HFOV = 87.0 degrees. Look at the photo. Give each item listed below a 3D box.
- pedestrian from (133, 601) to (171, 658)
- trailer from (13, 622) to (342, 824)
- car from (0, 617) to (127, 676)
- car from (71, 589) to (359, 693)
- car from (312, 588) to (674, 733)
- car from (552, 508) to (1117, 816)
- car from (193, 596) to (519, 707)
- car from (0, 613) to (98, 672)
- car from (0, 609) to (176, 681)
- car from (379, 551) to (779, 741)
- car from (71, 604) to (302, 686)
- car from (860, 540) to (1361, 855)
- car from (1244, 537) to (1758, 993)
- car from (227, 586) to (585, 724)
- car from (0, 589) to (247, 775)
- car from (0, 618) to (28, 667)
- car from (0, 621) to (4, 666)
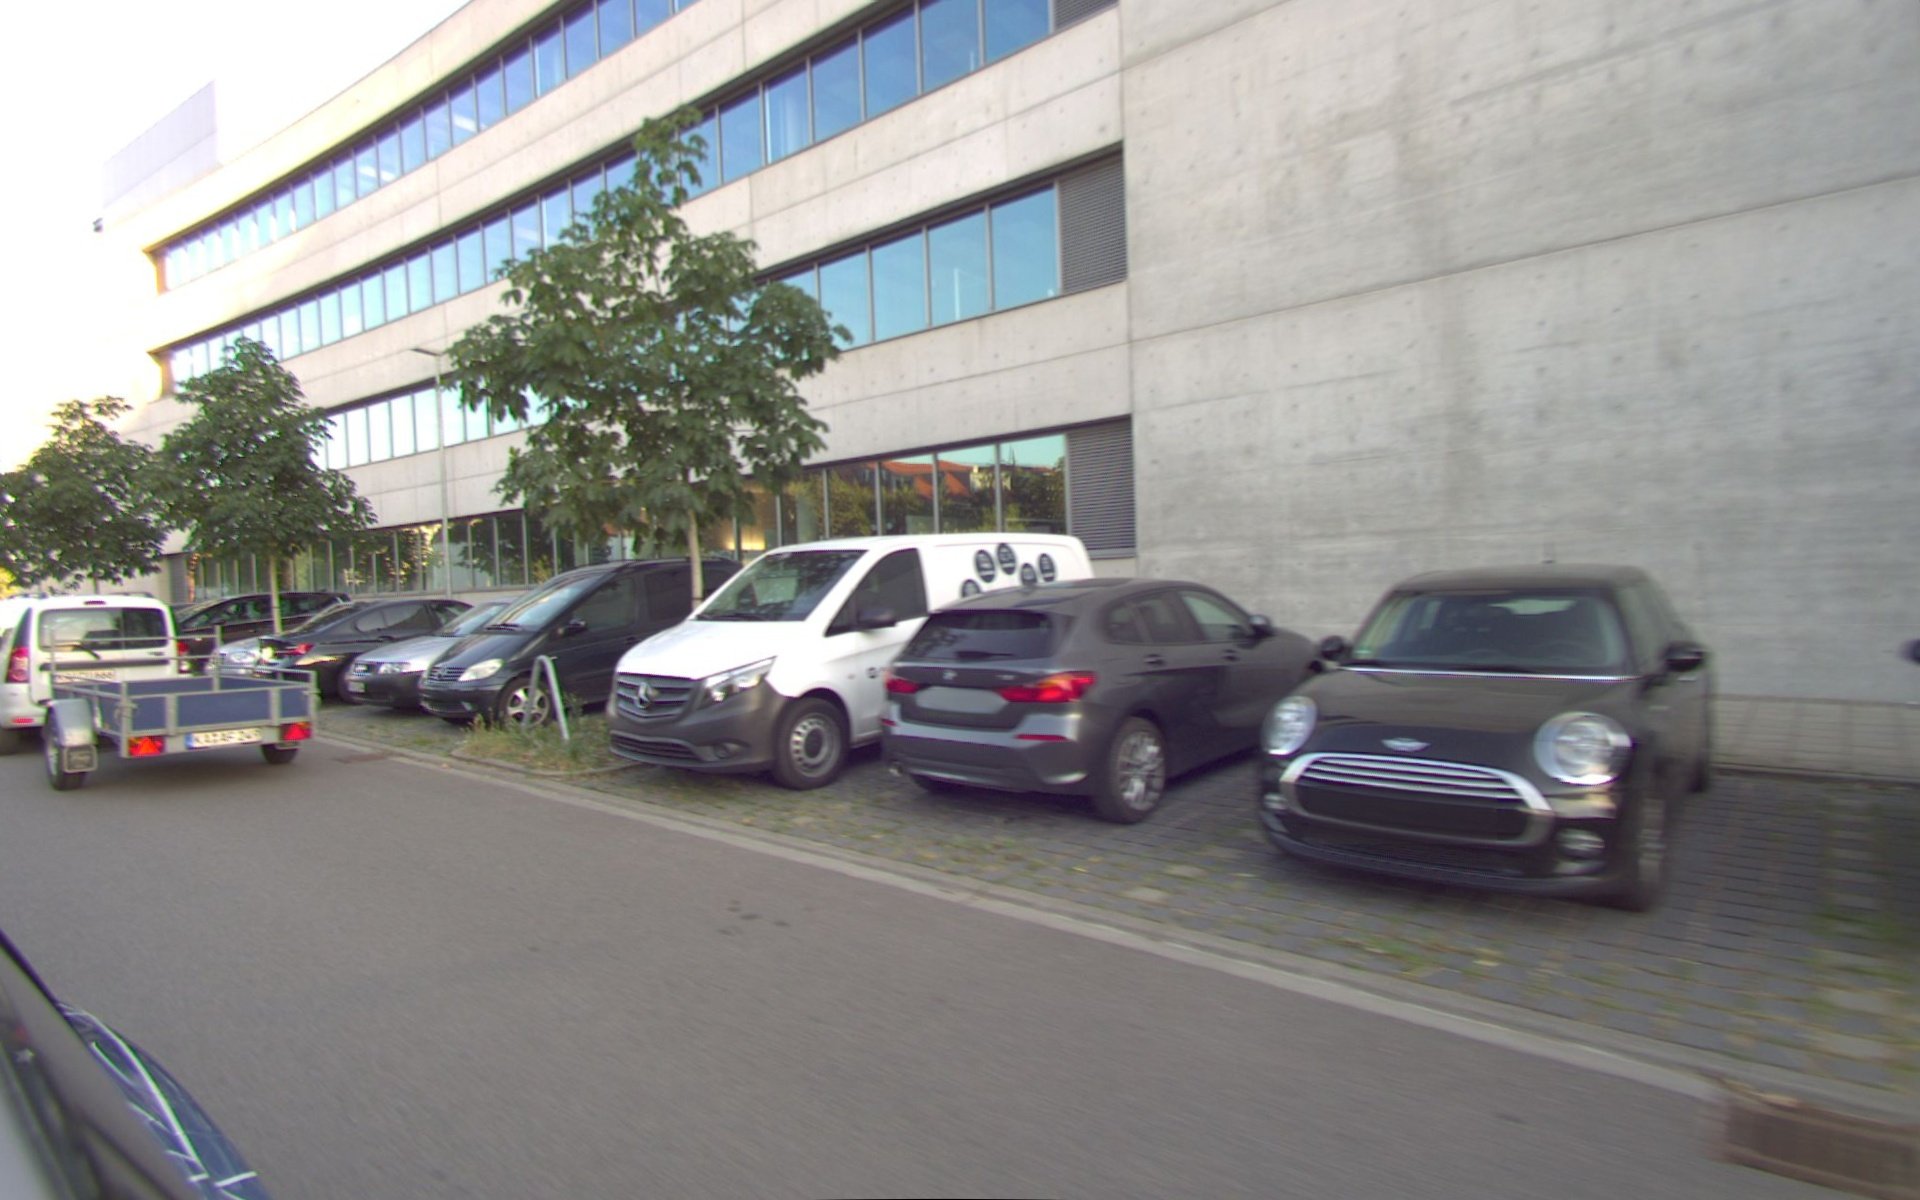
[{"bbox_3d":[-26.039,0.950,32.615,0.723,1.797,0.641,-2,2,33],"label":"pedestrian"},{"bbox_3d":[-6.970,0.900,8.903,3.486,1.359,1.687,-1,0,42],"label":"trailer"},{"bbox_3d":[-25.592,1.310,27.913,1.678,1.372,3.611,-3,1,28],"label":"car"},{"bbox_3d":[-14.812,0.736,20.341,1.894,1.709,4.269,-2,2,38],"label":"car"},{"bbox_3d":[-6.193,0.697,13.839,1.722,1.414,4.105,-1,4,38],"label":"car"},{"bbox_3d":[-0.736,0.241,9.051,1.887,1.960,5.027,-1,4,39],"label":"car"},{"bbox_3d":[-10.079,0.787,17.207,1.761,1.475,4.392,-3,1,38],"label":"car"},{"bbox_3d":[-27.740,1.299,29.206,1.754,1.522,3.957,-3,1,33],"label":"car"},{"bbox_3d":[-22.987,1.132,26.192,1.754,1.522,3.840,-3,1,33],"label":"car"},{"bbox_3d":[-4.430,0.396,12.356,1.722,1.755,4.207,-1,4,38],"label":"car"},{"bbox_3d":[-16.928,0.929,22.310,1.675,1.468,3.671,-2,2,35],"label":"car"},{"bbox_3d":[1.320,0.438,7.311,1.605,1.533,3.945,-1,4,42],"label":"car"},{"bbox_3d":[3.186,0.504,5.513,1.650,1.499,3.848,-2,3,40],"label":"car"},{"bbox_3d":[-8.206,0.699,15.319,1.763,1.510,4.352,-1,4,42],"label":"car"},{"bbox_3d":[-10.178,0.758,11.518,4.712,1.698,1.935,0,1,36],"label":"car"},{"bbox_3d":[-31.965,1.516,31.506,1.576,1.523,3.977,-4,1,26],"label":"car"},{"bbox_3d":[-34.309,1.632,33.061,1.836,1.540,4.064,-3,2,26],"label":"car"}]
